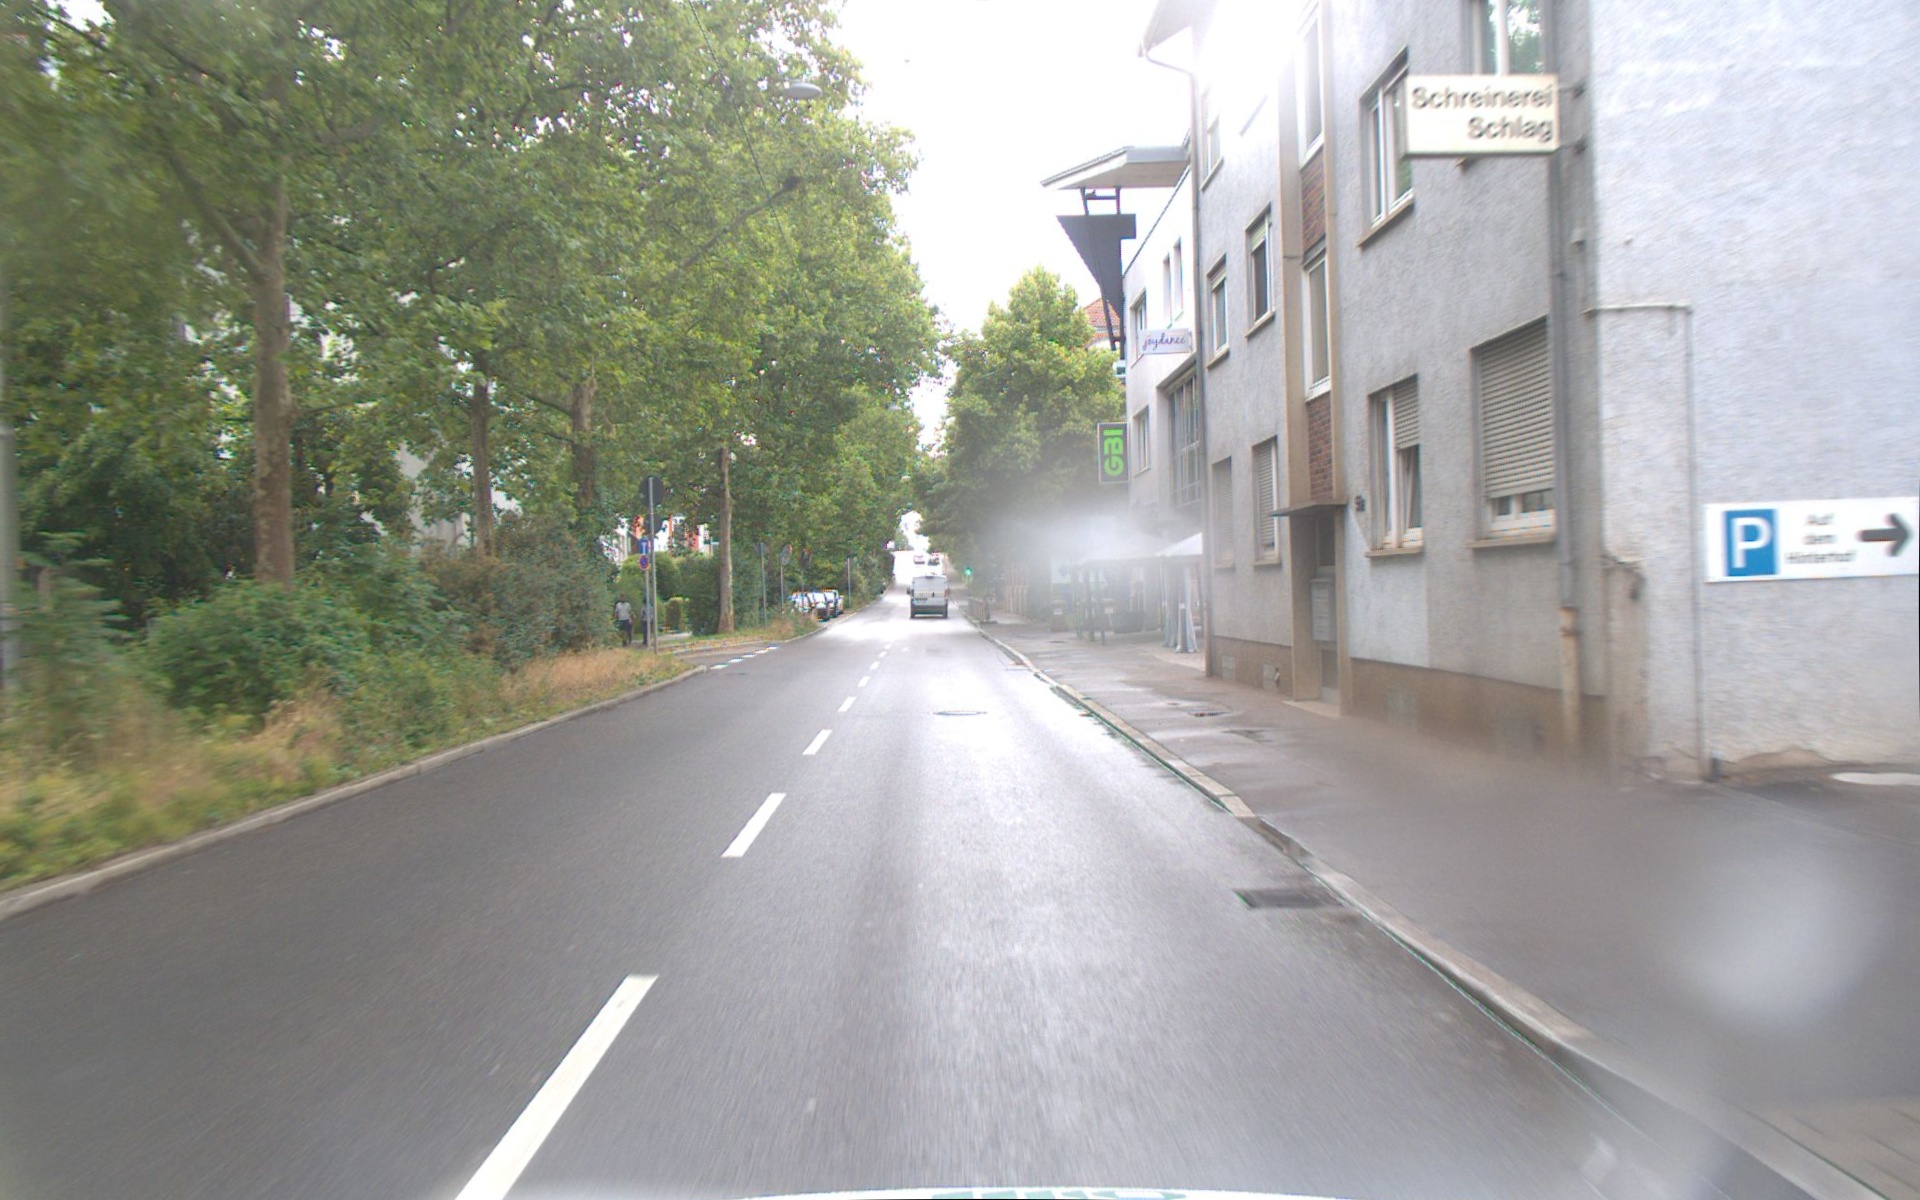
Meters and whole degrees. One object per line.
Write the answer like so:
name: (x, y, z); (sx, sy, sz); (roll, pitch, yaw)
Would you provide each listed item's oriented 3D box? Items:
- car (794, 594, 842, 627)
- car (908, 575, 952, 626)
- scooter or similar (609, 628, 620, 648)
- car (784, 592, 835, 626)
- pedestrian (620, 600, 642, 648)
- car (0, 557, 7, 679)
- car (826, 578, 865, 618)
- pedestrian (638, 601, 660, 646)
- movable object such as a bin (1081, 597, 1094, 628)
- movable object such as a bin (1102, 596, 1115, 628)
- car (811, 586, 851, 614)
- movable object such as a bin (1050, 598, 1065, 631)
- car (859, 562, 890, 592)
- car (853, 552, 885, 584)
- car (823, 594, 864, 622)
car: (-7.899, 0.623, 92.498); (2.170, 1.759, 4.609); (0, -2, 1)
car: (-1.610, 0.080, 89.402); (2.236, 2.597, 3.999); (-1, -2, -1)
scooter or similar: (-11.703, 1.296, 56.055); (0.301, 0.693, 0.388); (0, -2, -4)
car: (-7.795, 0.494, 86.077); (2.170, 1.620, 4.609); (0, -2, 1)
pedestrian: (-11.159, 0.819, 56.127); (0.626, 1.640, 0.622); (0, -2, -4)
car: (-15.354, 0.223, 22.209); (3.906, 1.701, 1.999); (0, -2, -2)
car: (-7.611, -0.109, 110.583); (2.170, 2.578, 4.609); (0, -2, 1)
pedestrian: (-11.031, 0.844, 58.628); (0.667, 1.598, 0.622); (0, -1, -4)
movable object such as a bin: (4.415, 0.438, 57.310); (0.392, 1.085, 0.358); (-1, -2, -7)
movable object such as a bin: (5.151, 0.413, 57.377); (0.349, 1.085, 0.358); (0, -2, -7)
car: (-7.699, 0.031, 99.214); (1.954, 1.570, 4.609); (0, -2, 1)
movable object such as a bin: (3.382, 0.509, 57.263); (0.392, 1.085, 0.358); (-4, -1, -7)
car: (-7.166, -1.922, 138.972); (2.169, 2.334, 4.610); (0, -2, 2)
car: (-7.190, -2.536, 131.451); (2.170, 2.334, 4.609); (0, -2, 1)
car: (-7.411, 0.529, 105.367); (2.170, 1.721, 4.609); (0, -2, 1)
